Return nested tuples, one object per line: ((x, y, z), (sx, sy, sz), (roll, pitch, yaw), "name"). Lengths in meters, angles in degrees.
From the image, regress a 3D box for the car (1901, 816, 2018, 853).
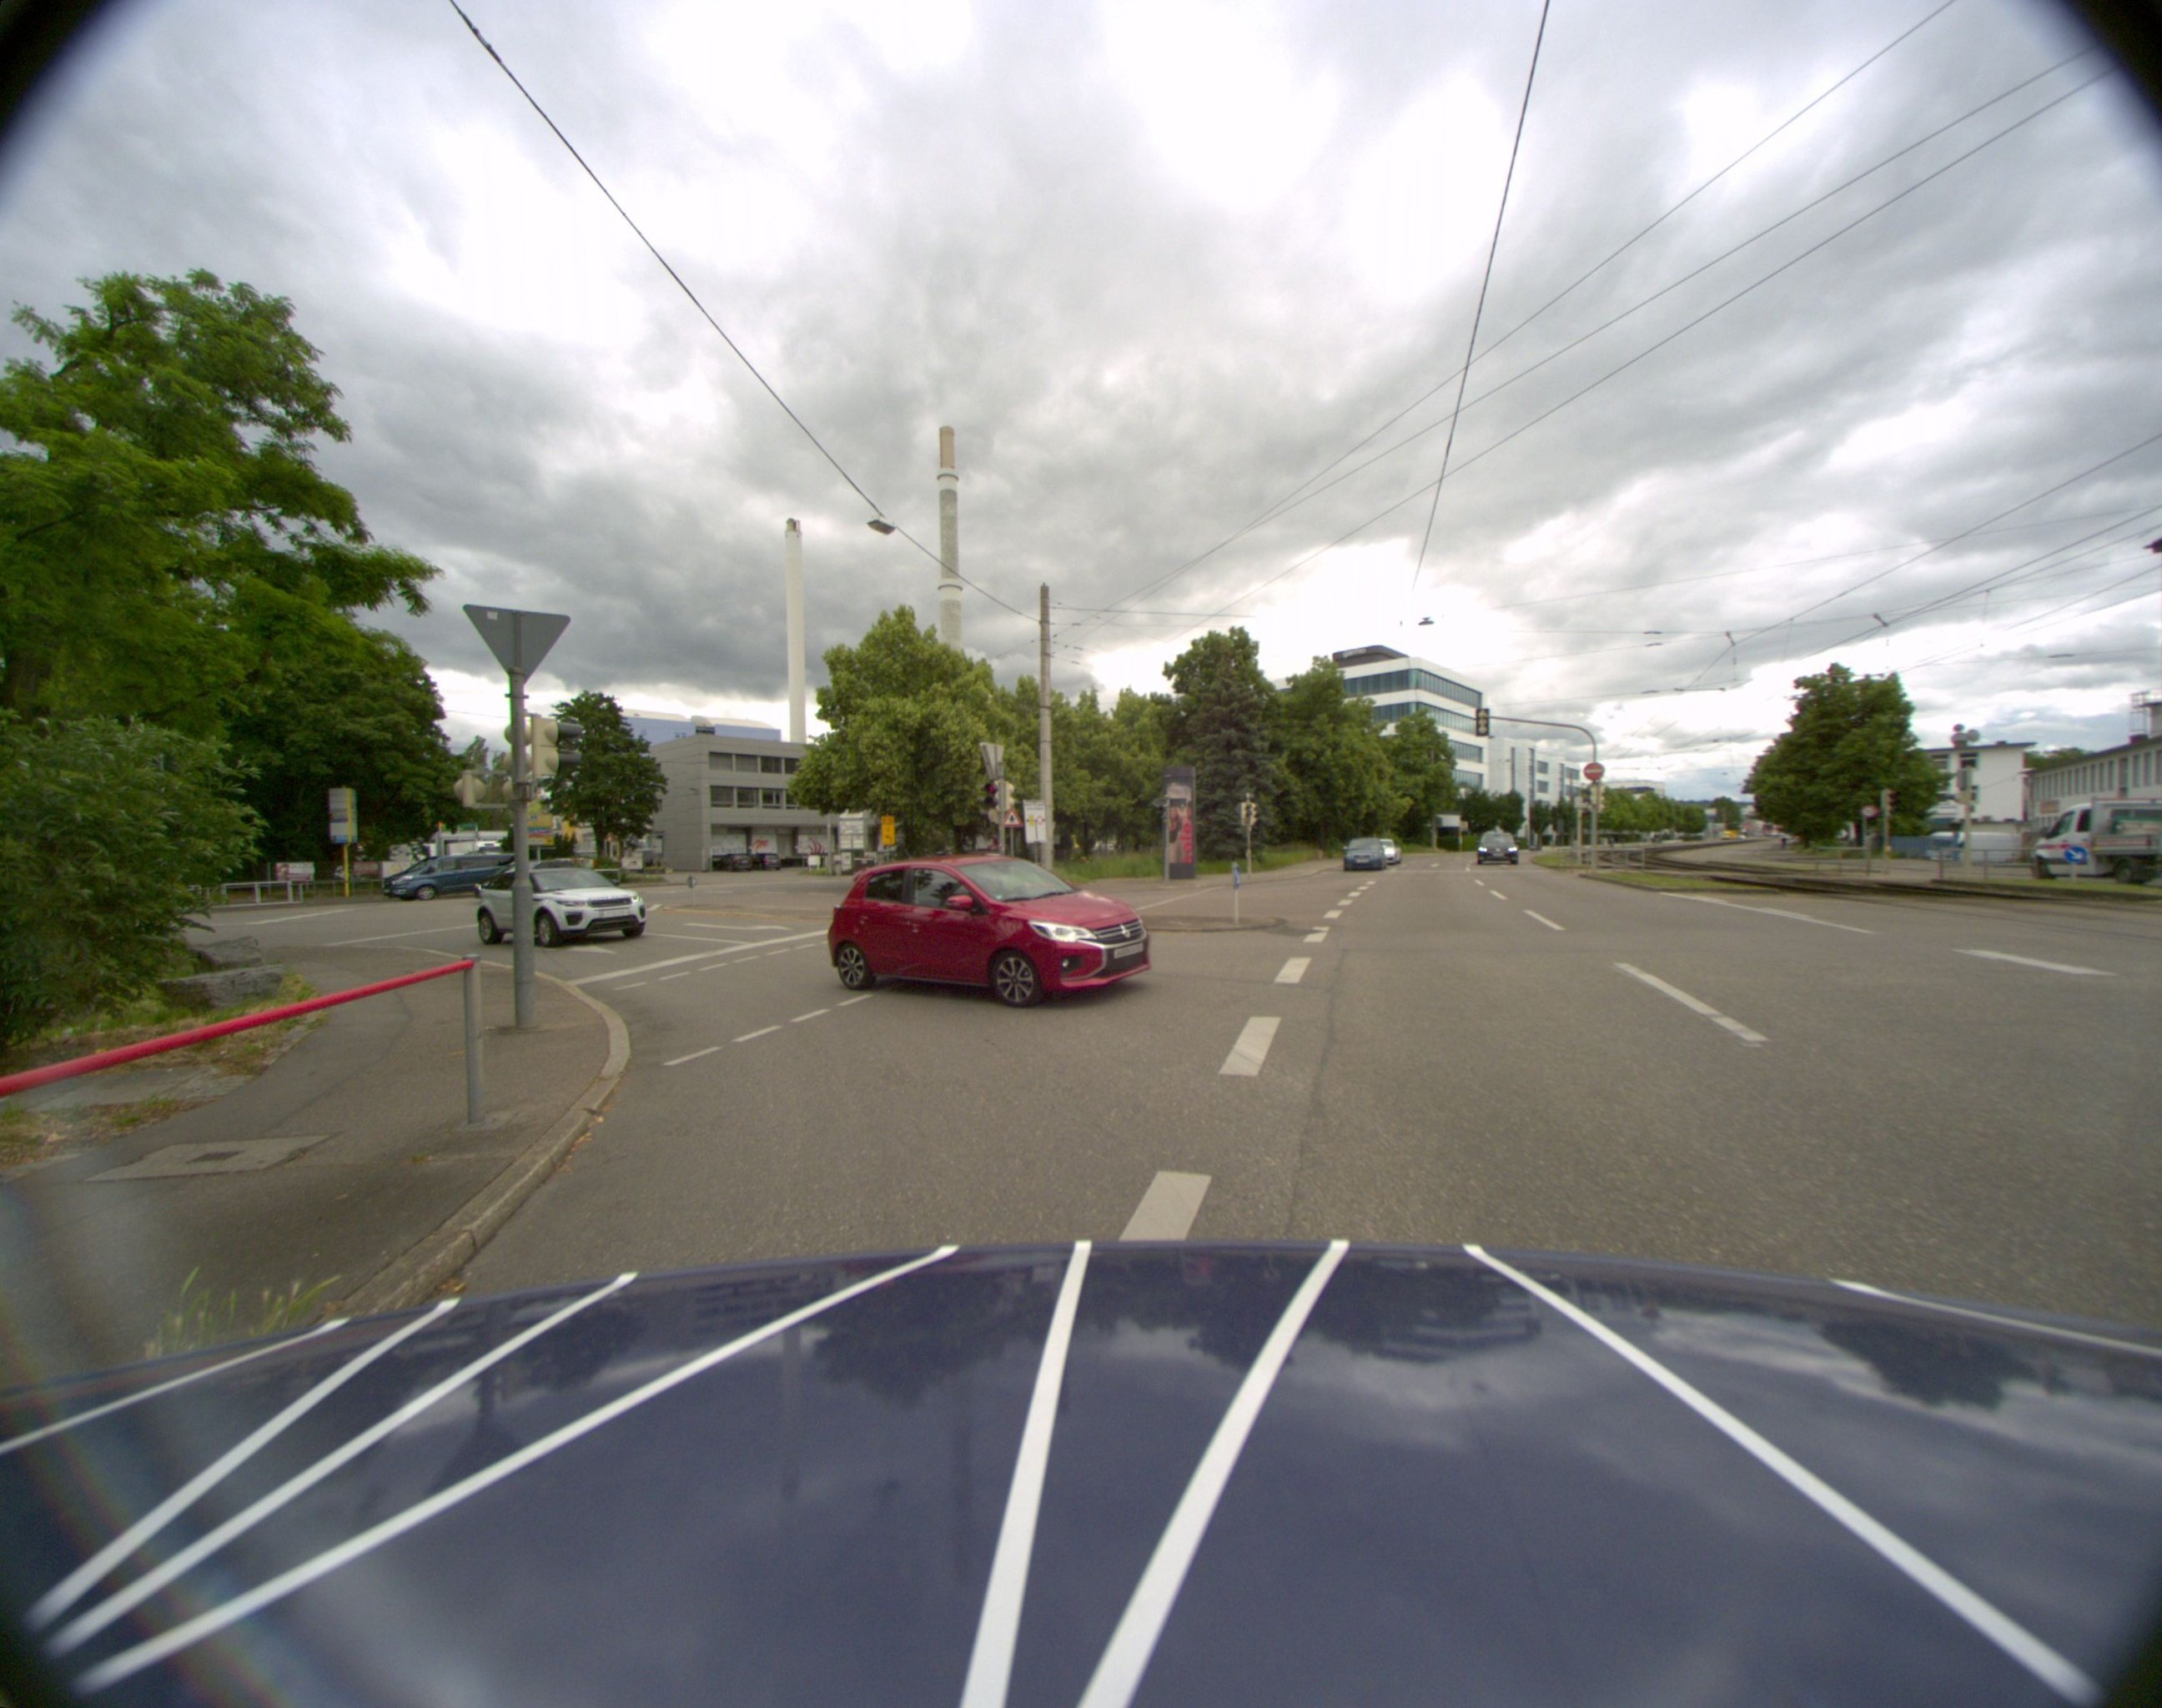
((56.104, -1.244, 48.541), (6.299, 2.089, 1.748), (-3, 2, -8), "car")

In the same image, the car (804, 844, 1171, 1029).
((-1.107, 0.699, 8.338), (3.729, 1.522, 1.771), (0, 4, 36), "car")

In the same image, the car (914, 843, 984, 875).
((-9.254, 0.277, 53.971), (1.946, 1.968, 5.879), (1, 2, 23), "car")

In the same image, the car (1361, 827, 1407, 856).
((16.517, -0.730, 41.372), (1.745, 1.418, 4.172), (-2, 1, 29), "car")

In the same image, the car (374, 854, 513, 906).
((-28.263, 1.098, 33.813), (1.994, 2.002, 4.246), (0, 2, 32), "car")

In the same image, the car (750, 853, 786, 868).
((-29.557, 0.616, 71.660), (3.561, 1.172, 1.780), (2, 7, 45), "car")

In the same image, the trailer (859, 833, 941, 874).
((-11.498, -0.083, 48.771), (2.146, 2.374, 5.396), (-1, 2, 24), "trailer")

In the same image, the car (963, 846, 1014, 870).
((-8.084, 0.314, 66.887), (1.995, 1.654, 4.769), (0, 5, 27), "car")

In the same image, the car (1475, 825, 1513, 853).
((21.150, -0.800, 38.916), (1.625, 1.324, 3.179), (-1, 2, 28), "car")

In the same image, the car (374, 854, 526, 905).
((-28.063, 1.091, 33.998), (1.828, 1.934, 4.811), (-1, 2, 32), "car")

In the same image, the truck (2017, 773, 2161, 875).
((27.762, -0.814, 19.904), (2.314, 2.408, 5.664), (1, 3, 32), "truck")

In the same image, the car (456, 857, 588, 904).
((-23.139, 1.044, 31.664), (1.830, 1.761, 4.234), (-1, 0, 12), "car")

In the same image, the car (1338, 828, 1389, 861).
((12.929, -0.456, 34.692), (1.745, 1.384, 3.709), (-2, 1, 27), "car")

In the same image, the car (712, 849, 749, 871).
((-31.816, 0.529, 68.960), (3.561, 1.670, 1.780), (2, 7, 45), "car")

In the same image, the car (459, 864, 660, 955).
((-11.445, 1.103, 16.653), (4.102, 1.561, 1.919), (0, 6, 30), "car")
